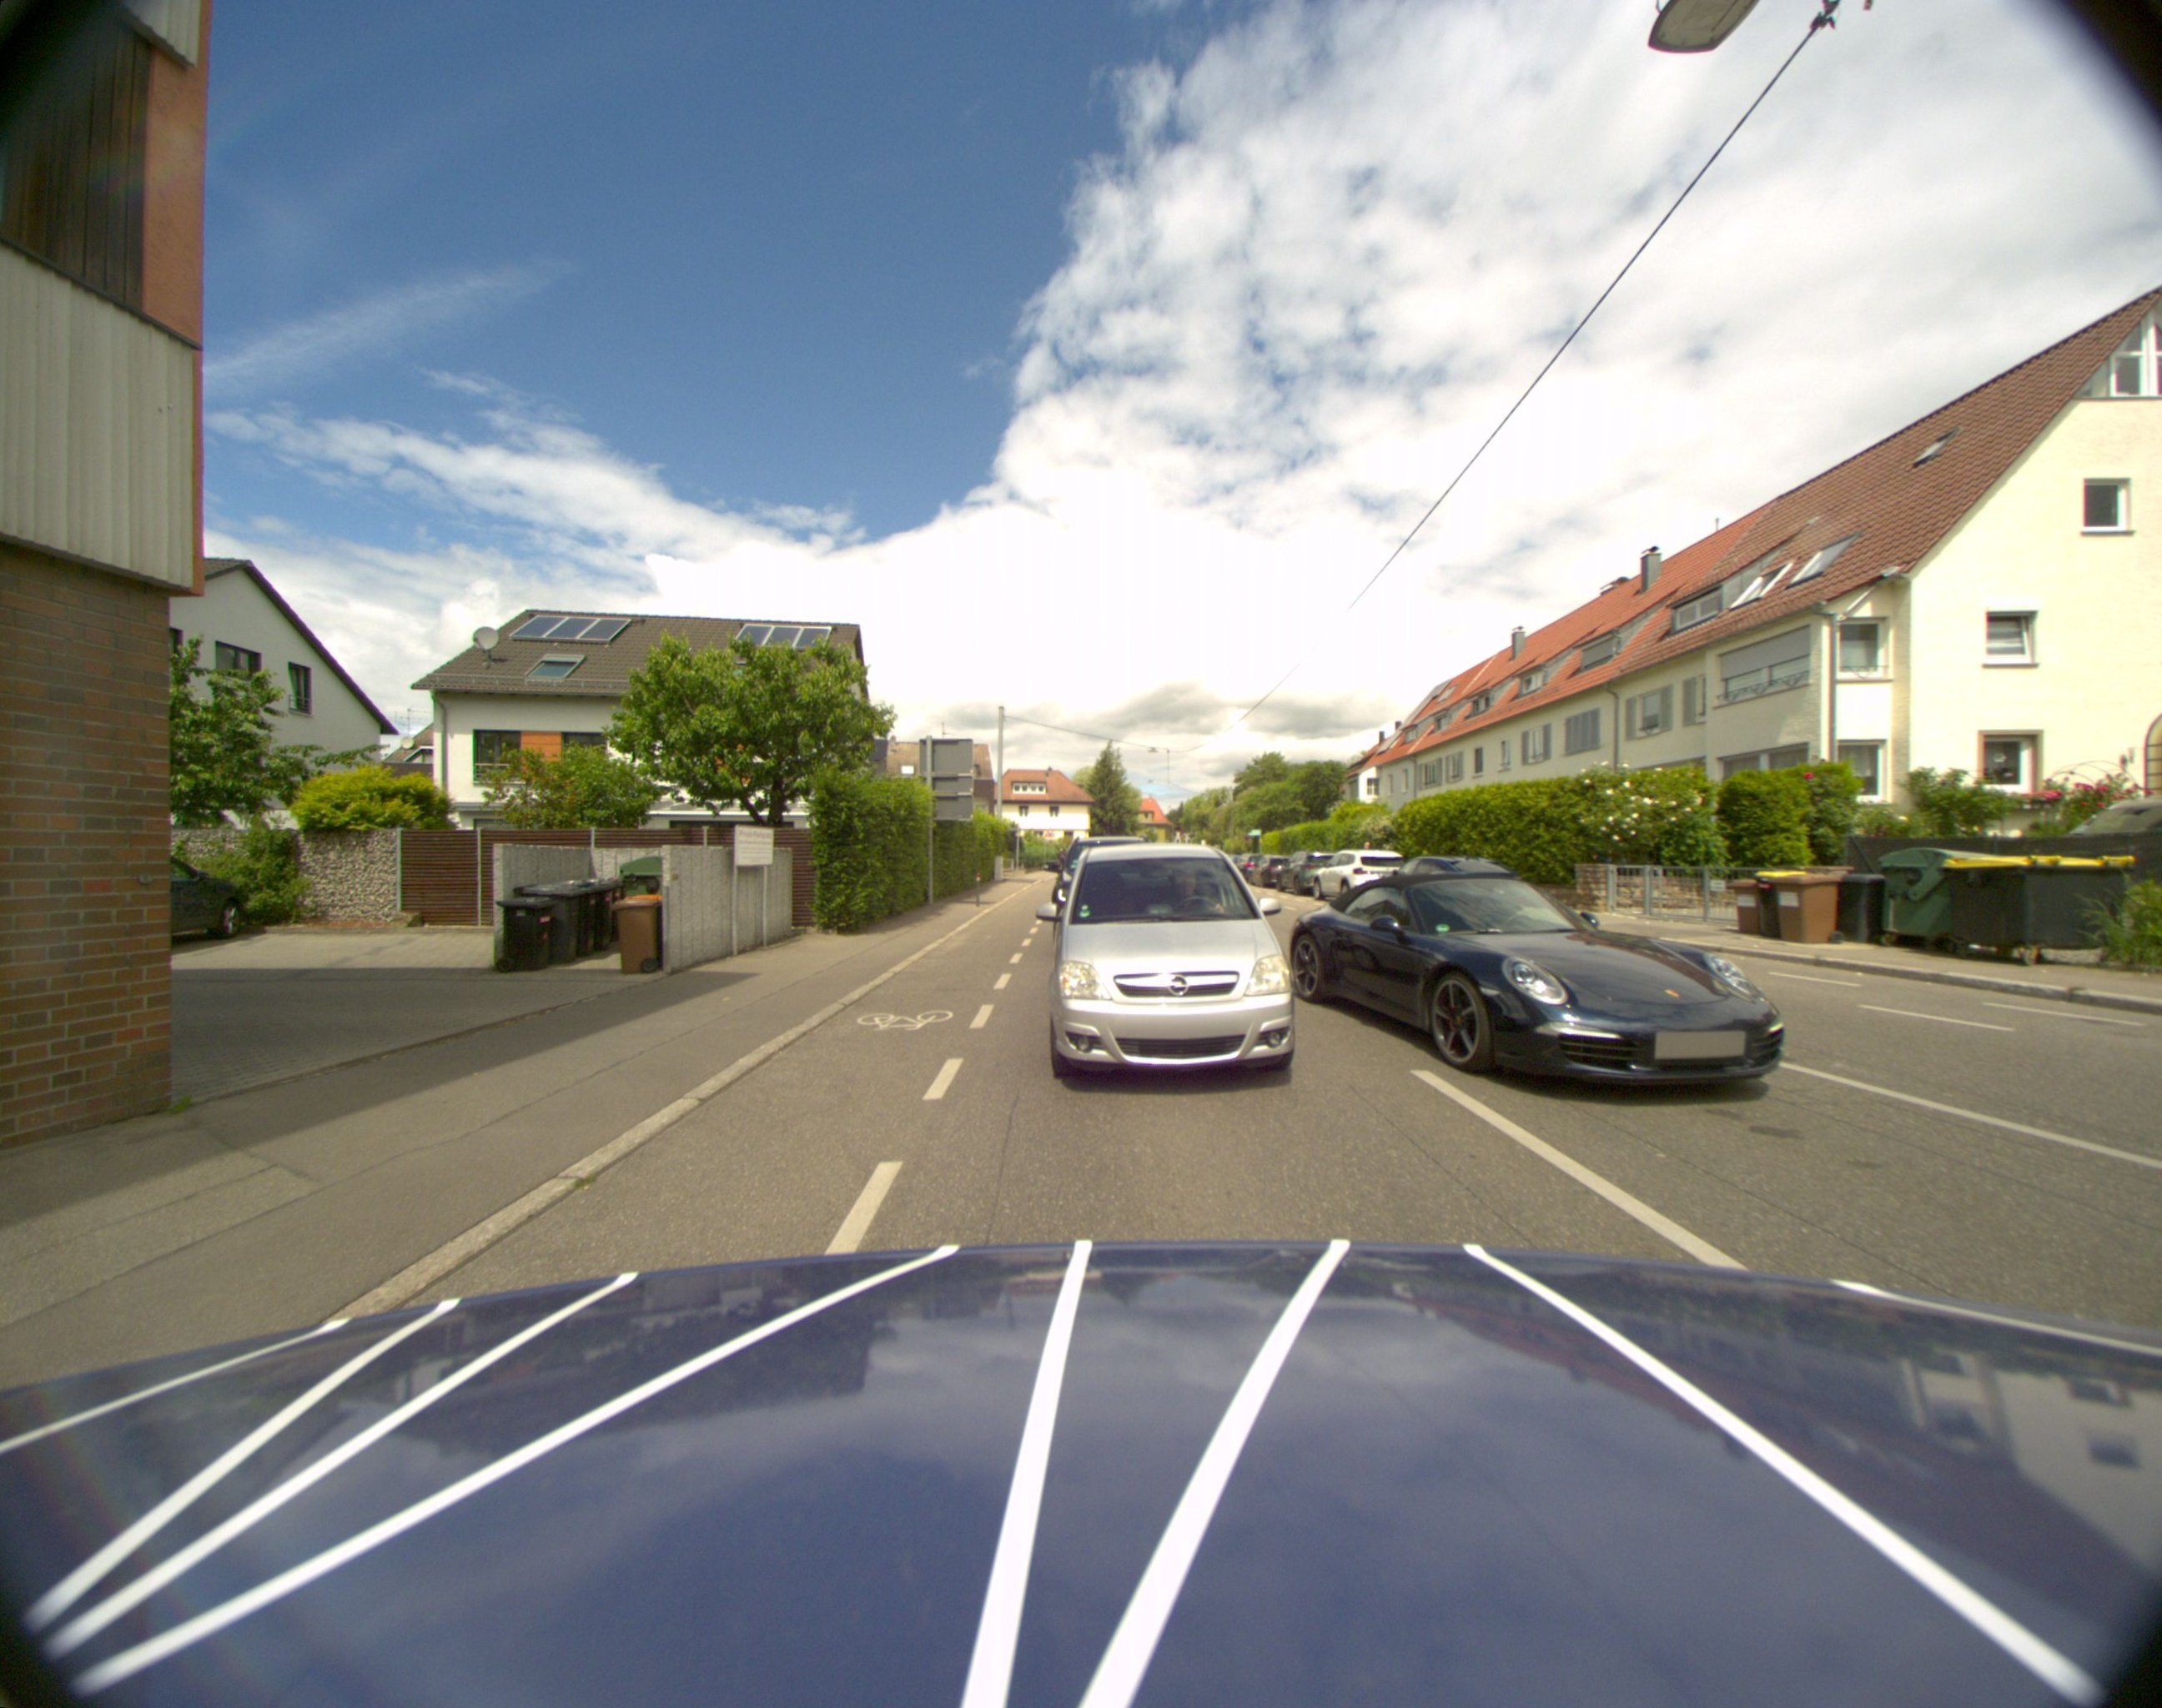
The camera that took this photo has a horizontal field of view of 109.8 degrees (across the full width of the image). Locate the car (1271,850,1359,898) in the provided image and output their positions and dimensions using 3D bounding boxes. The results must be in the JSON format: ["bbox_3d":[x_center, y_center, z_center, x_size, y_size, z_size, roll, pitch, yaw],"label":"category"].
[{"bbox_3d":[8.636,0.685,28.413,1.998,1.623,4.236,-1,1,0],"label":"car"}]

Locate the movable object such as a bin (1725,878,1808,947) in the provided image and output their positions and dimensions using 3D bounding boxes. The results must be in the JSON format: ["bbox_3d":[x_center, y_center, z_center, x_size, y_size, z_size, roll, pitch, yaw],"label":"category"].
[{"bbox_3d":[11.242,0.949,12.487,0.763,1.059,0.693,-1,1,7],"label":"movable object such as a bin"}]

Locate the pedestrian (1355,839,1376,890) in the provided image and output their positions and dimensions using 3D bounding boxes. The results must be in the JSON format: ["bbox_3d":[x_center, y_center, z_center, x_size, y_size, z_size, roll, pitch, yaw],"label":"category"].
[{"bbox_3d":[10.203,0.374,27.248,0.533,1.805,0.511,-1,1,-4],"label":"pedestrian"}]

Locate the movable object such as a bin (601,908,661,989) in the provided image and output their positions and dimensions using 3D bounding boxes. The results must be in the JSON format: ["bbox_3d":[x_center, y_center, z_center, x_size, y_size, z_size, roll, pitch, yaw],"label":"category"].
[{"bbox_3d":[-5.512,1.145,9.324,0.519,0.916,0.478,-1,1,-18],"label":"movable object such as a bin"}]

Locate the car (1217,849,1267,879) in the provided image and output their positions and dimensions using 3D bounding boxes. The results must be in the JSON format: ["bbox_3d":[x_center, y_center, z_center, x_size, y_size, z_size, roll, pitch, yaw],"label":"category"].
[{"bbox_3d":[9.335,0.521,44.375,1.998,1.623,4.236,-1,1,0],"label":"car"}]

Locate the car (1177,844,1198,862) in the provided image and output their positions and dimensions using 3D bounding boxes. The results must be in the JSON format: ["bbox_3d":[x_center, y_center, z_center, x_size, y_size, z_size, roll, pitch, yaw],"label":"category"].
[{"bbox_3d":[11.595,-0.124,82.776,1.997,1.904,4.072,-1,1,11],"label":"car"}]

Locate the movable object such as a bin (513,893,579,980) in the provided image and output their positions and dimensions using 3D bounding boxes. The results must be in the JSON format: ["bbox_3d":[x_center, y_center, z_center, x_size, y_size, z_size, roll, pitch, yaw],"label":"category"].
[{"bbox_3d":[-7.084,1.076,10.081,0.596,1.069,0.488,-1,1,-24],"label":"movable object such as a bin"}]

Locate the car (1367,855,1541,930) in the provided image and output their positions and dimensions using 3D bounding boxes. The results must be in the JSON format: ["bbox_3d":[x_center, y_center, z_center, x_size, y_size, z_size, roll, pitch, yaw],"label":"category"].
[{"bbox_3d":[8.634,0.810,18.105,1.819,1.493,4.452,-1,1,-2],"label":"car"}]

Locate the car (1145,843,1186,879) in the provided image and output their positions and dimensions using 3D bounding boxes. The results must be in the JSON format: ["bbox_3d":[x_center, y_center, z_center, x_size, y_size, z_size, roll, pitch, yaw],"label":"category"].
[{"bbox_3d":[4.683,0.354,42.788,1.998,1.904,4.069,-1,1,3],"label":"car"}]

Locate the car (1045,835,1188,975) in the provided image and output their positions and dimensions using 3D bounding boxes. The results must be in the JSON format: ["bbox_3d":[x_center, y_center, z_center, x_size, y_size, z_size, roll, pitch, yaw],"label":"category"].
[{"bbox_3d":[0.416,0.661,12.750,1.887,1.838,5.219,-1,1,-1],"label":"car"}]

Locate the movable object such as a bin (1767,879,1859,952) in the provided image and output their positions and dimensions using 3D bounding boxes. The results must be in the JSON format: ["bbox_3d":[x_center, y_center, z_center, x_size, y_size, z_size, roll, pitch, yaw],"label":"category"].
[{"bbox_3d":[11.291,0.937,11.740,0.763,1.059,0.693,-1,1,7],"label":"movable object such as a bin"}]

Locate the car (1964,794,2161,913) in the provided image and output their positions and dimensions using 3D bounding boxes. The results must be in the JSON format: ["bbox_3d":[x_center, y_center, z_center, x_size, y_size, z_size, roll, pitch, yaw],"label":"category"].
[{"bbox_3d":[19.276,-0.046,13.870,3.997,2.002,2.000,-1,1,0],"label":"car"}]

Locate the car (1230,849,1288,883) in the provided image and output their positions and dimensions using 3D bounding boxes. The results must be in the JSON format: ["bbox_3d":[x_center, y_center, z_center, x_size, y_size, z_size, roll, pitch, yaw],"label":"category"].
[{"bbox_3d":[9.032,0.575,38.962,1.998,1.623,4.236,-1,1,0],"label":"car"}]

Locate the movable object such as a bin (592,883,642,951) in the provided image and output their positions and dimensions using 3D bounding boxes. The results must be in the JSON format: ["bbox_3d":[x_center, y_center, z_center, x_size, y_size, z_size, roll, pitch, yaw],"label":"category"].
[{"bbox_3d":[-7.680,1.029,12.599,0.596,1.069,0.488,-1,1,-19],"label":"movable object such as a bin"}]

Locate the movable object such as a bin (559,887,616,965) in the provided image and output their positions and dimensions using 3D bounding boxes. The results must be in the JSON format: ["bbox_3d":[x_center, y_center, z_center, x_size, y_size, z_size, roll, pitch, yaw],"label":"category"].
[{"bbox_3d":[-7.238,1.047,11.168,0.596,1.069,0.488,-1,1,-24],"label":"movable object such as a bin"}]

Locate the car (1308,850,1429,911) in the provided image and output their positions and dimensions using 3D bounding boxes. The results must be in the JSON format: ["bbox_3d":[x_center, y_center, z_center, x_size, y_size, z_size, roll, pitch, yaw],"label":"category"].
[{"bbox_3d":[8.572,0.718,23.123,1.998,1.623,4.453,-1,1,0],"label":"car"}]

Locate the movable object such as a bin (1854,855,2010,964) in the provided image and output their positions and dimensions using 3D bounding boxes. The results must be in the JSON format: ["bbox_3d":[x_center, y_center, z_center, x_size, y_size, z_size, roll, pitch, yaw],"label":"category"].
[{"bbox_3d":[11.923,0.748,10.691,1.092,1.438,0.980,-1,1,0],"label":"movable object such as a bin"}]

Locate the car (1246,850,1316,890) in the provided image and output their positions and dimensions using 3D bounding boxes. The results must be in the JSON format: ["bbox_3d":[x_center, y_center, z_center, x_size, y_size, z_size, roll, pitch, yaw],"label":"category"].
[{"bbox_3d":[8.781,0.659,33.791,1.998,1.623,4.236,1,1,0],"label":"car"}]

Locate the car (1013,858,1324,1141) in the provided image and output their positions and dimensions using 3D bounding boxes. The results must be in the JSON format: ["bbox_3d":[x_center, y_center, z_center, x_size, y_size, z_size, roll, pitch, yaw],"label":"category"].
[{"bbox_3d":[0.527,0.856,6.406,1.774,1.566,4.001,-1,1,0],"label":"car"}]

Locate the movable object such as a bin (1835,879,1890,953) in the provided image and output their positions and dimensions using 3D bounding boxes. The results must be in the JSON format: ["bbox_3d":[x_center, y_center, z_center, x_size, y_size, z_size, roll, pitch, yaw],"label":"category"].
[{"bbox_3d":[11.942,0.931,11.612,0.657,1.059,0.522,-2,1,-38],"label":"movable object such as a bin"}]

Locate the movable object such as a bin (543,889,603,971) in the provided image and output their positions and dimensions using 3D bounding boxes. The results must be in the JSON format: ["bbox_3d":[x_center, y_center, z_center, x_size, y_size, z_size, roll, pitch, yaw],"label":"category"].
[{"bbox_3d":[-7.106,1.053,10.644,0.596,1.069,0.488,-1,1,-24],"label":"movable object such as a bin"}]

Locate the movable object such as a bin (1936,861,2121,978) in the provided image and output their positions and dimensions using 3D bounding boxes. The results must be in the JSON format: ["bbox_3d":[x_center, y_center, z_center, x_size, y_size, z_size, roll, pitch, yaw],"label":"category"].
[{"bbox_3d":[11.836,0.788,9.539,1.092,1.354,0.980,-1,1,0],"label":"movable object such as a bin"}]

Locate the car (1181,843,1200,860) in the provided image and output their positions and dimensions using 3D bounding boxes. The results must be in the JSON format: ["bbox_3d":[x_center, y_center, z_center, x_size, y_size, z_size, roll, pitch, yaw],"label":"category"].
[{"bbox_3d":[12.966,-0.313,90.095,1.997,1.904,4.072,-1,1,11],"label":"car"}]

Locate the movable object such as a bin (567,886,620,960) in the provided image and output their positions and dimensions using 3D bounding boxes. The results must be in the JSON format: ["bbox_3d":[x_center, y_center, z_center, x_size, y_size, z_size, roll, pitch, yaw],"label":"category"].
[{"bbox_3d":[-7.469,1.039,11.658,0.596,1.069,0.488,-1,1,-24],"label":"movable object such as a bin"}]

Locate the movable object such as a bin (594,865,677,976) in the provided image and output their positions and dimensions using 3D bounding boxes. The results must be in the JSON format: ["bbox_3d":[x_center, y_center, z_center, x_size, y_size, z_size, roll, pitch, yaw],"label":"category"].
[{"bbox_3d":[-6.006,0.878,10.269,0.809,1.446,0.479,-1,1,-4],"label":"movable object such as a bin"}]

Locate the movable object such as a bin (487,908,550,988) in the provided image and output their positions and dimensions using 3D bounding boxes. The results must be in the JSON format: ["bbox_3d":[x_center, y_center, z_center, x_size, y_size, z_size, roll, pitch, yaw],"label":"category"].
[{"bbox_3d":[-7.048,1.160,9.542,0.519,0.916,0.478,-1,1,-24],"label":"movable object such as a bin"}]

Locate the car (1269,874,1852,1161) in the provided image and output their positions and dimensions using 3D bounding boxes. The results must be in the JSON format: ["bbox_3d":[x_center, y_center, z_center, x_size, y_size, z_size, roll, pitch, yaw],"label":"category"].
[{"bbox_3d":[3.166,0.923,6.147,1.816,1.356,4.041,-1,1,-8],"label":"car"}]
